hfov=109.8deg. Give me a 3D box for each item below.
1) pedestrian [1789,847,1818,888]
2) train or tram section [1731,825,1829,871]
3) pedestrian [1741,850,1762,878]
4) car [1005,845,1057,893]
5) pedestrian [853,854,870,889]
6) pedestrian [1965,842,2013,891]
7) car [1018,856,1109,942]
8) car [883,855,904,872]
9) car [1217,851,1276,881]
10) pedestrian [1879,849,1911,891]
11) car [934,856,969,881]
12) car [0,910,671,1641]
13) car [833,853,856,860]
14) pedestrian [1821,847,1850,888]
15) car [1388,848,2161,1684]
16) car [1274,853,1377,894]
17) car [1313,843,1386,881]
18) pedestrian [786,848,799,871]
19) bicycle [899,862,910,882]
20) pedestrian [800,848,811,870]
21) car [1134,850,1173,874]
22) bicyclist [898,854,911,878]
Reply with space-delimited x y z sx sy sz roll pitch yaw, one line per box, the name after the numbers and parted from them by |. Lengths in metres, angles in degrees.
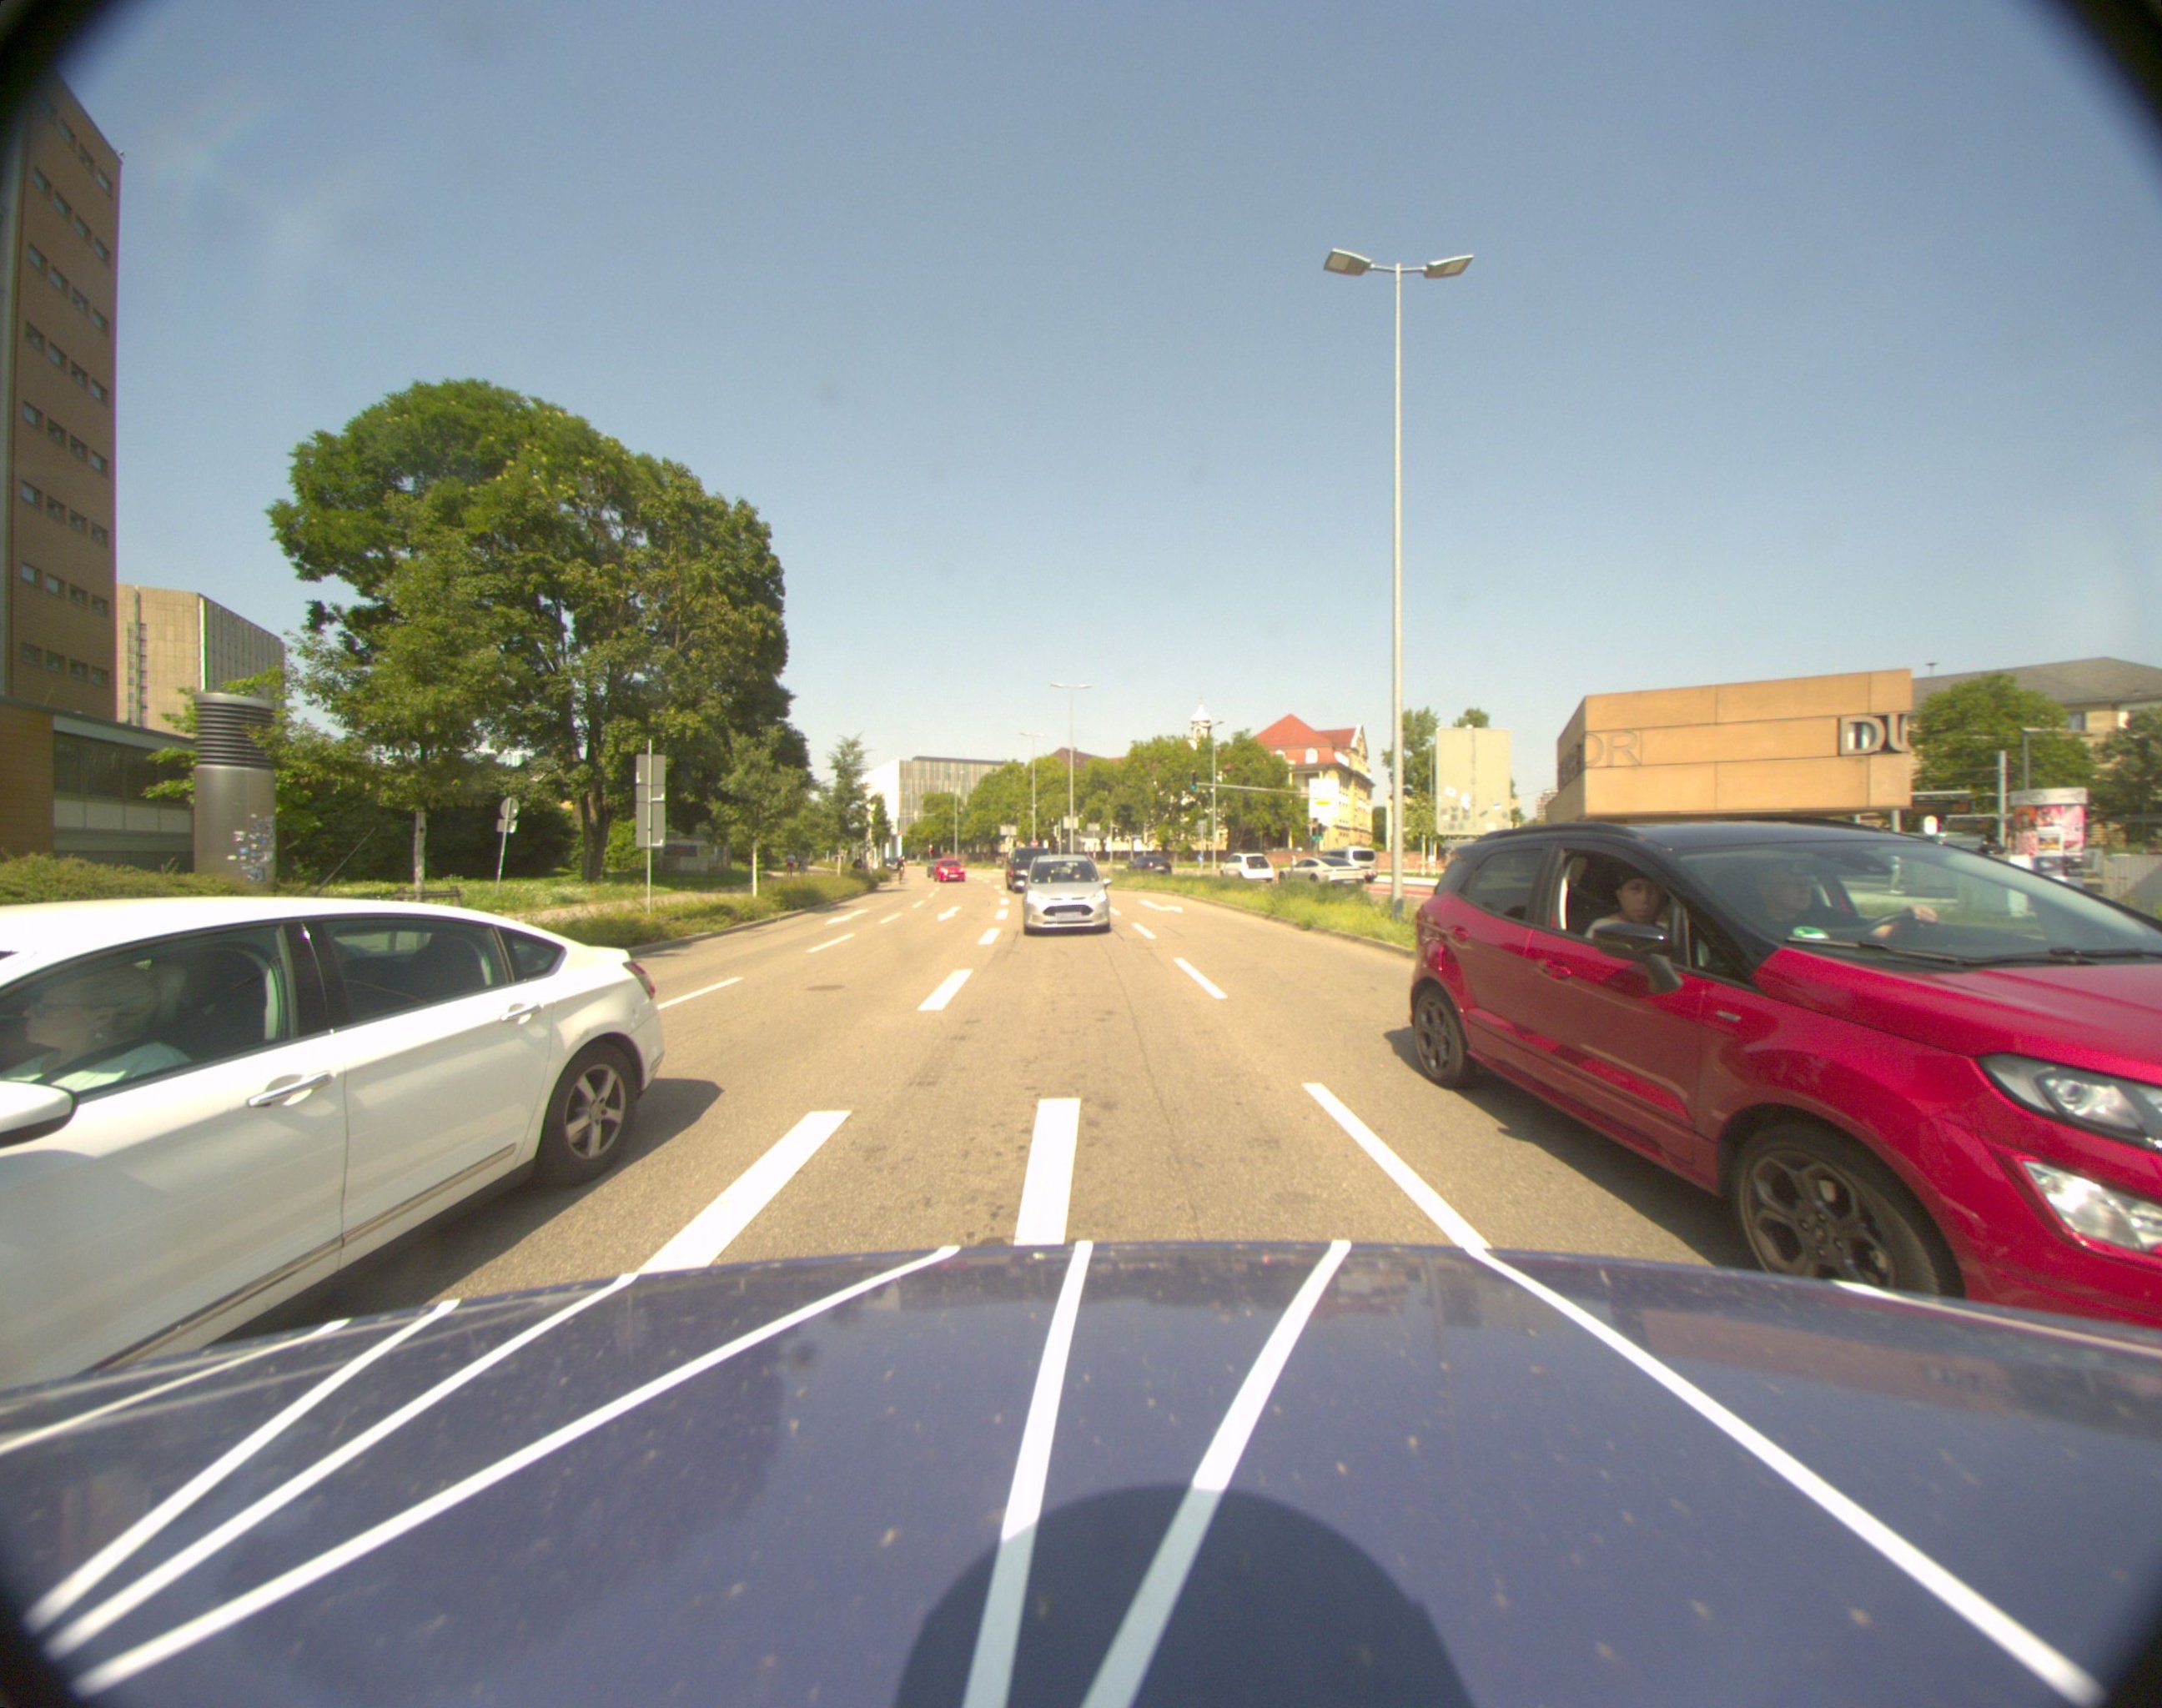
26.732 0.502 28.120 0.539 1.488 0.541 0 1 -1 | pedestrian
57.195 -0.465 62.613 2.698 3.418 13.446 0 0 29 | train or tram section
26.766 0.392 30.346 0.538 1.093 0.543 0 1 32 | pedestrian
-2.278 0.620 33.676 1.892 1.908 4.530 -2 0 -8 | car
-11.769 0.930 40.824 0.823 1.892 0.630 -1 1 -12 | pedestrian
28.298 0.381 23.685 0.771 1.488 0.606 0 1 -1 | pedestrian
-0.296 0.854 16.497 1.658 1.521 4.533 -2 0 1 | car
-18.860 0.973 76.543 1.812 1.652 3.996 0 0 -11 | car
8.535 0.615 39.462 1.527 1.470 3.472 0 0 -15 | car
28.802 0.566 26.900 0.539 1.488 0.541 0 1 -1 | pedestrian
-8.268 0.893 48.274 1.652 1.422 3.810 -2 0 -18 | car
-3.272 1.035 1.989 1.773 1.420 4.610 0 0 2 | car
-52.603 0.563 168.877 4.429 1.380 1.767 -2 0 -36 | car
27.900 0.491 28.095 0.539 1.488 0.541 0 1 -1 | pedestrian
2.945 0.793 3.279 1.694 1.577 3.845 -2 0 1 | car
10.037 0.741 31.628 2.001 1.576 4.710 0 0 -12 | car
13.732 0.365 39.101 1.869 1.843 3.911 0 1 -10 | car
-17.054 0.328 44.904 0.635 1.291 0.486 -3 1 -17 | pedestrian
-10.774 1.100 46.418 0.595 1.162 2.233 0 0 -11 | bicycle
-16.356 0.293 45.125 0.577 1.291 0.437 -3 1 -18 | pedestrian
4.304 0.457 45.471 1.526 1.417 3.474 0 0 -8 | car
-10.798 0.725 46.512 0.679 1.392 1.048 0 1 -10 | bicyclist
